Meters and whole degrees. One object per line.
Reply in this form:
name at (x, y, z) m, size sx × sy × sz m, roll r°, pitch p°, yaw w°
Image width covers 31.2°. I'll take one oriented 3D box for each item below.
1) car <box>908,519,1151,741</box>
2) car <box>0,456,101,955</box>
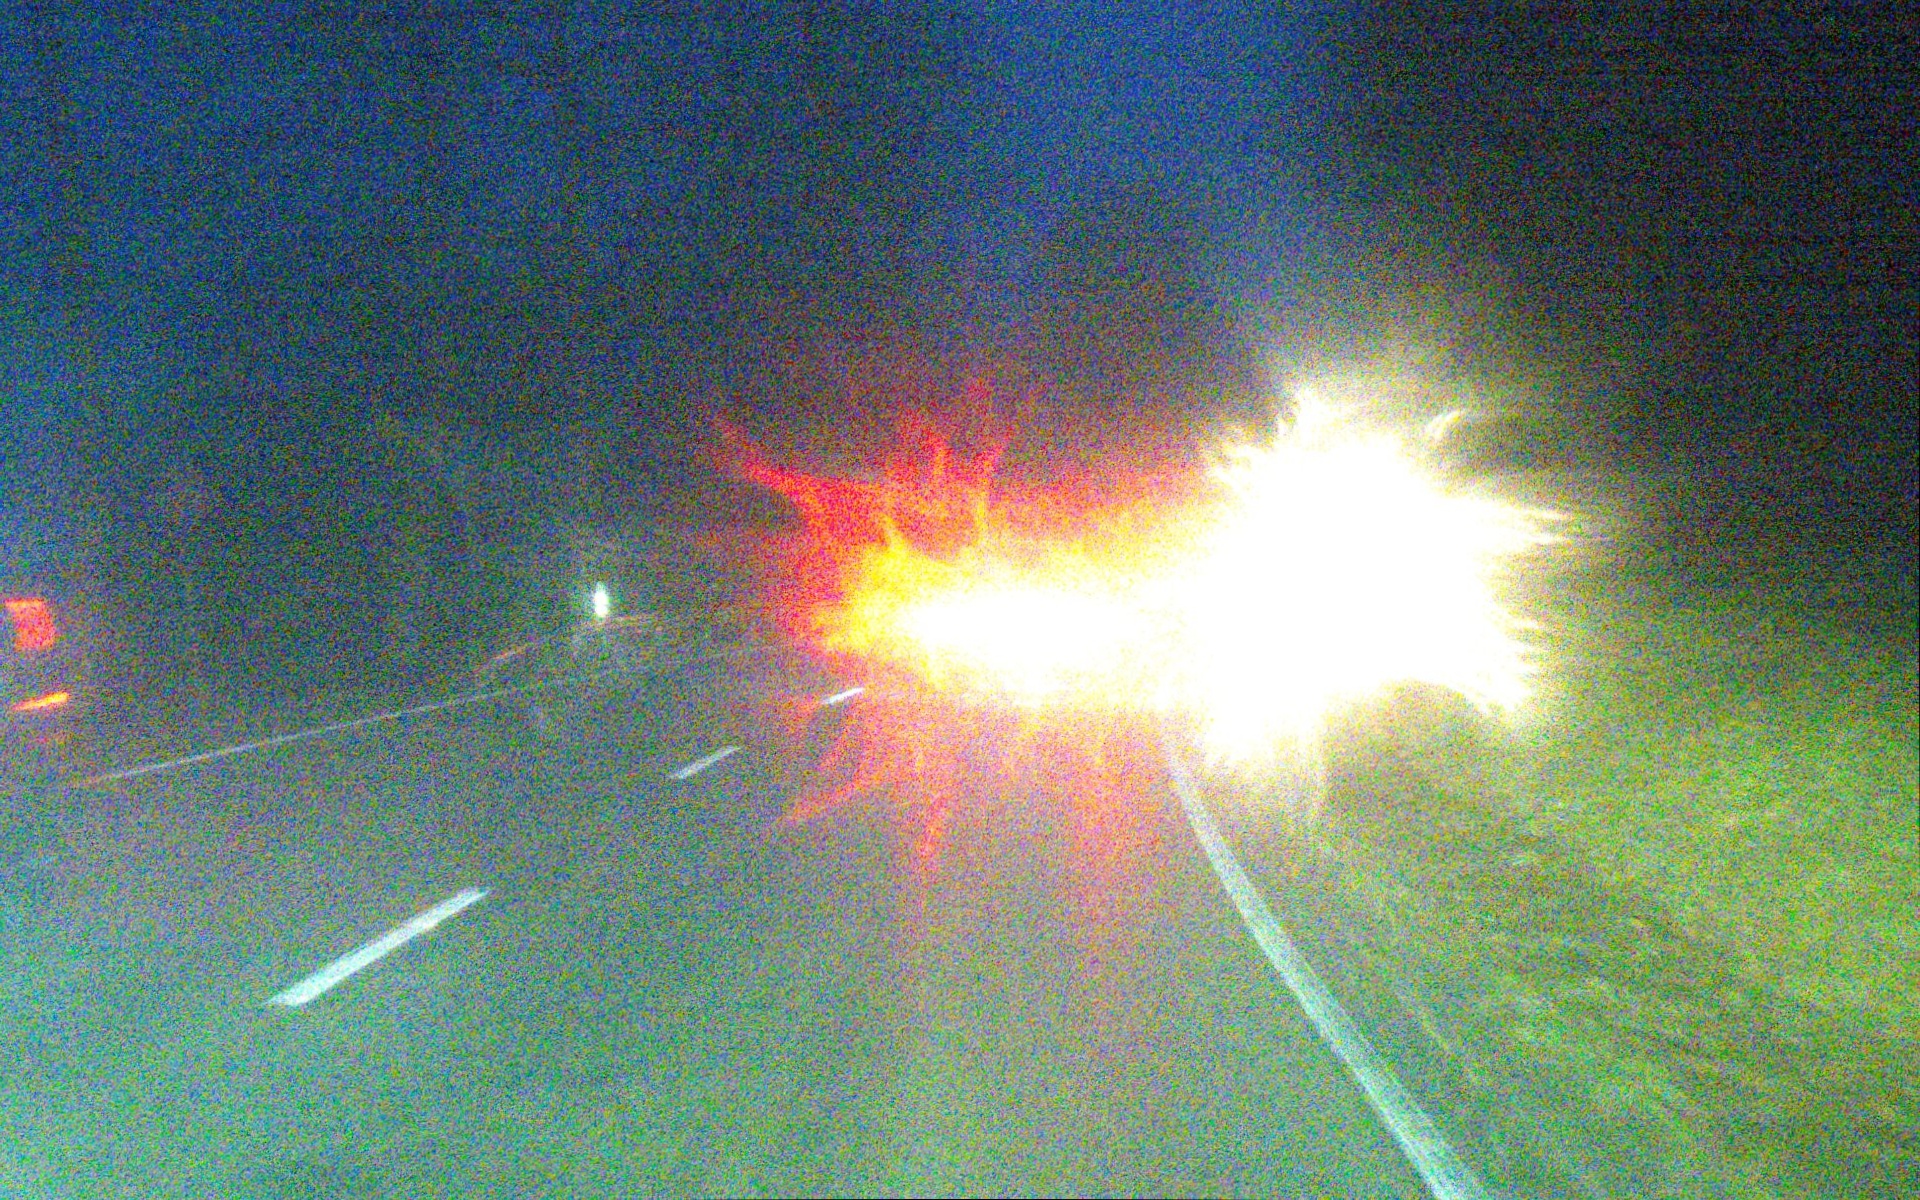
car at (0.690, 0.211, 31.267) m, size 1.994 × 1.800 × 3.917 m, roll -2°, pitch 1°, yaw 3°
car at (-4.227, 0.383, 11.162) m, size 1.842 × 1.714 × 3.960 m, roll 0°, pitch 1°, yaw 1°
